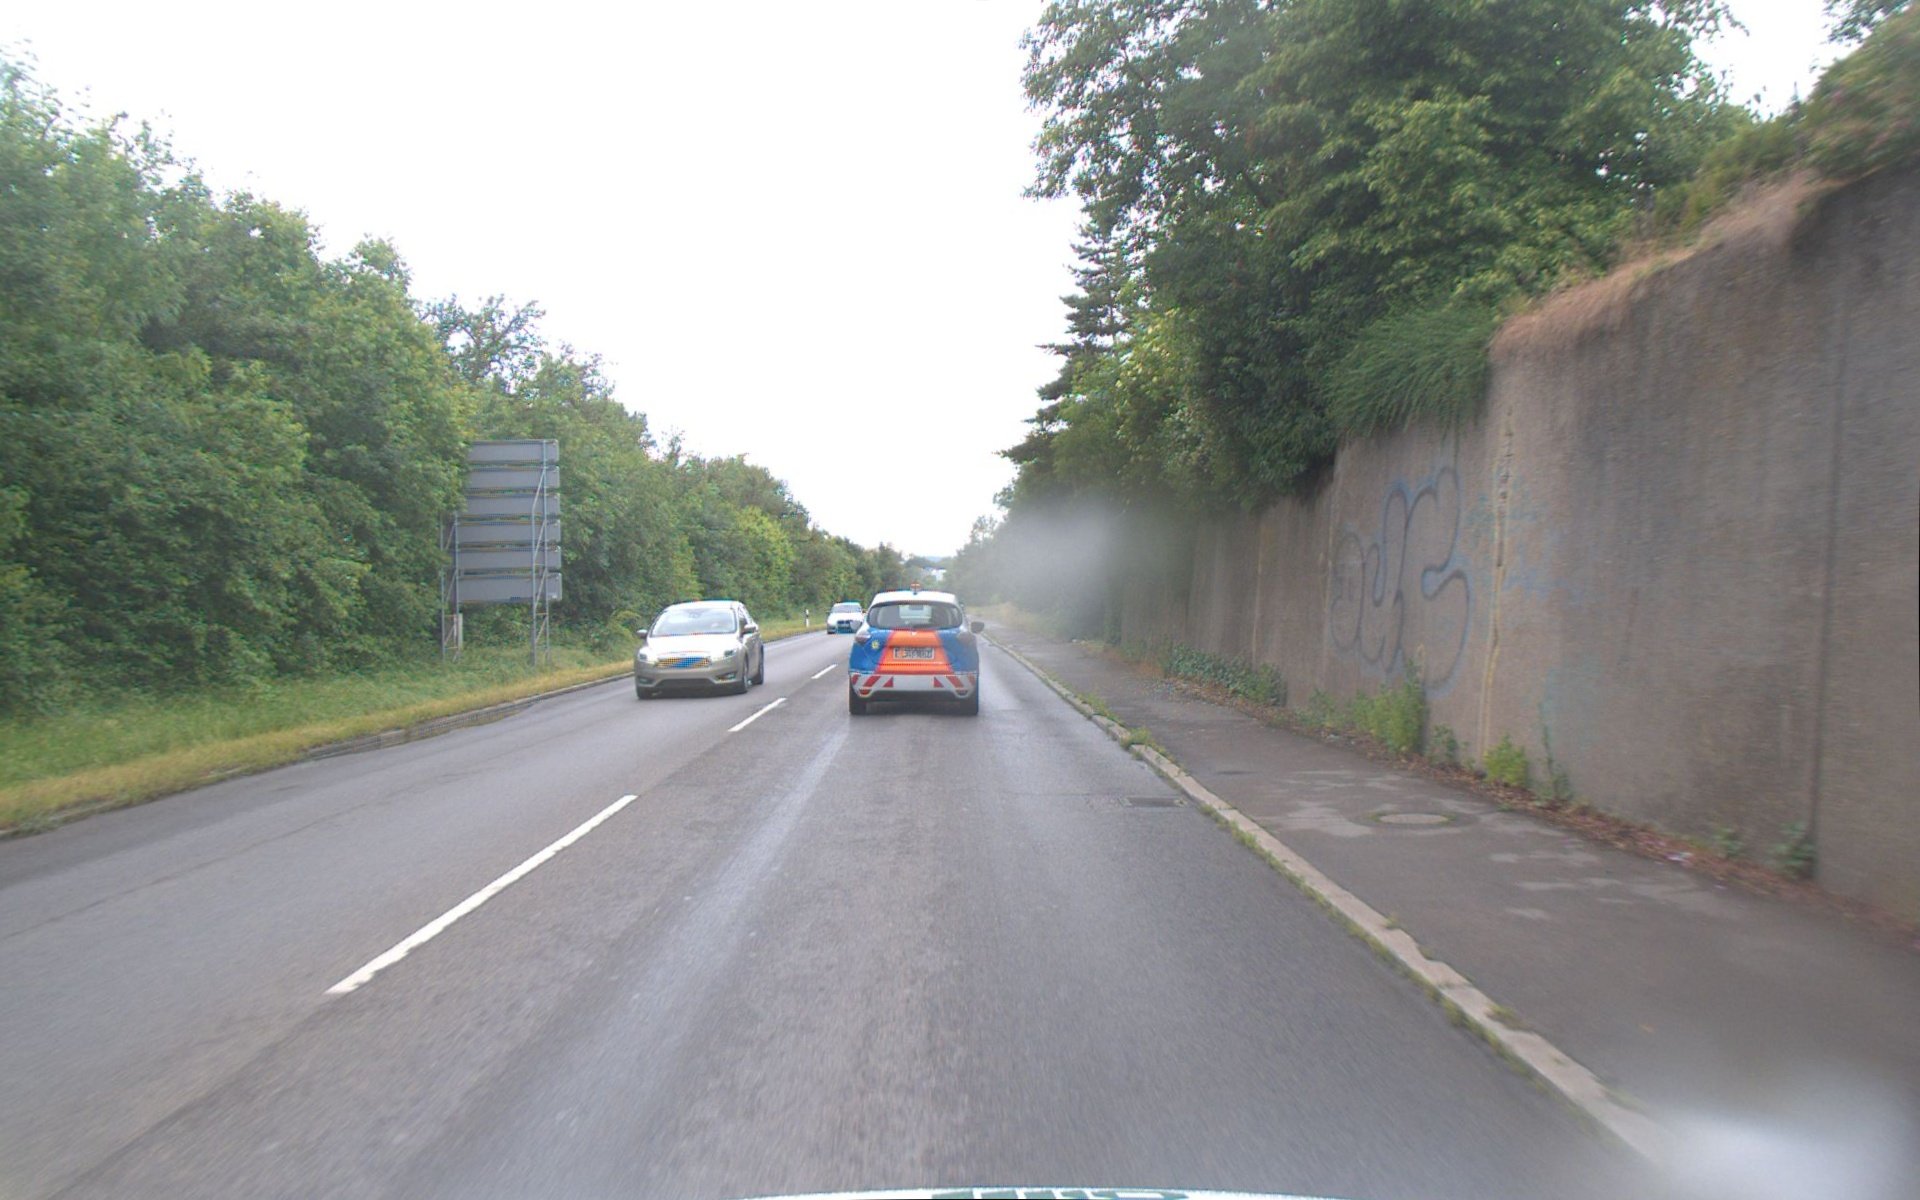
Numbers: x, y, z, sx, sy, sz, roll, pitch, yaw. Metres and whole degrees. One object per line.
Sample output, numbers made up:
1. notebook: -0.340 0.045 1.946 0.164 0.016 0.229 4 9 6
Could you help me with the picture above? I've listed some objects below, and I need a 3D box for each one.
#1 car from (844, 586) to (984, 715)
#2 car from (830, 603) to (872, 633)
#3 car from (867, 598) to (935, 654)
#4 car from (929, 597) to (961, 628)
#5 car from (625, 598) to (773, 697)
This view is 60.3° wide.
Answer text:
1. car: -0.601 0.609 22.441 1.716 1.583 3.792 1 0 -1
2. car: -5.161 0.816 78.604 1.853 1.378 4.380 0 0 -2
3. car: -1.457 0.642 41.695 1.566 1.309 3.476 -1 0 0
4. car: -0.892 0.720 95.590 1.737 1.653 3.999 -2 0 -2
5. car: -4.251 0.729 27.515 1.788 1.445 4.319 -1 0 -1
